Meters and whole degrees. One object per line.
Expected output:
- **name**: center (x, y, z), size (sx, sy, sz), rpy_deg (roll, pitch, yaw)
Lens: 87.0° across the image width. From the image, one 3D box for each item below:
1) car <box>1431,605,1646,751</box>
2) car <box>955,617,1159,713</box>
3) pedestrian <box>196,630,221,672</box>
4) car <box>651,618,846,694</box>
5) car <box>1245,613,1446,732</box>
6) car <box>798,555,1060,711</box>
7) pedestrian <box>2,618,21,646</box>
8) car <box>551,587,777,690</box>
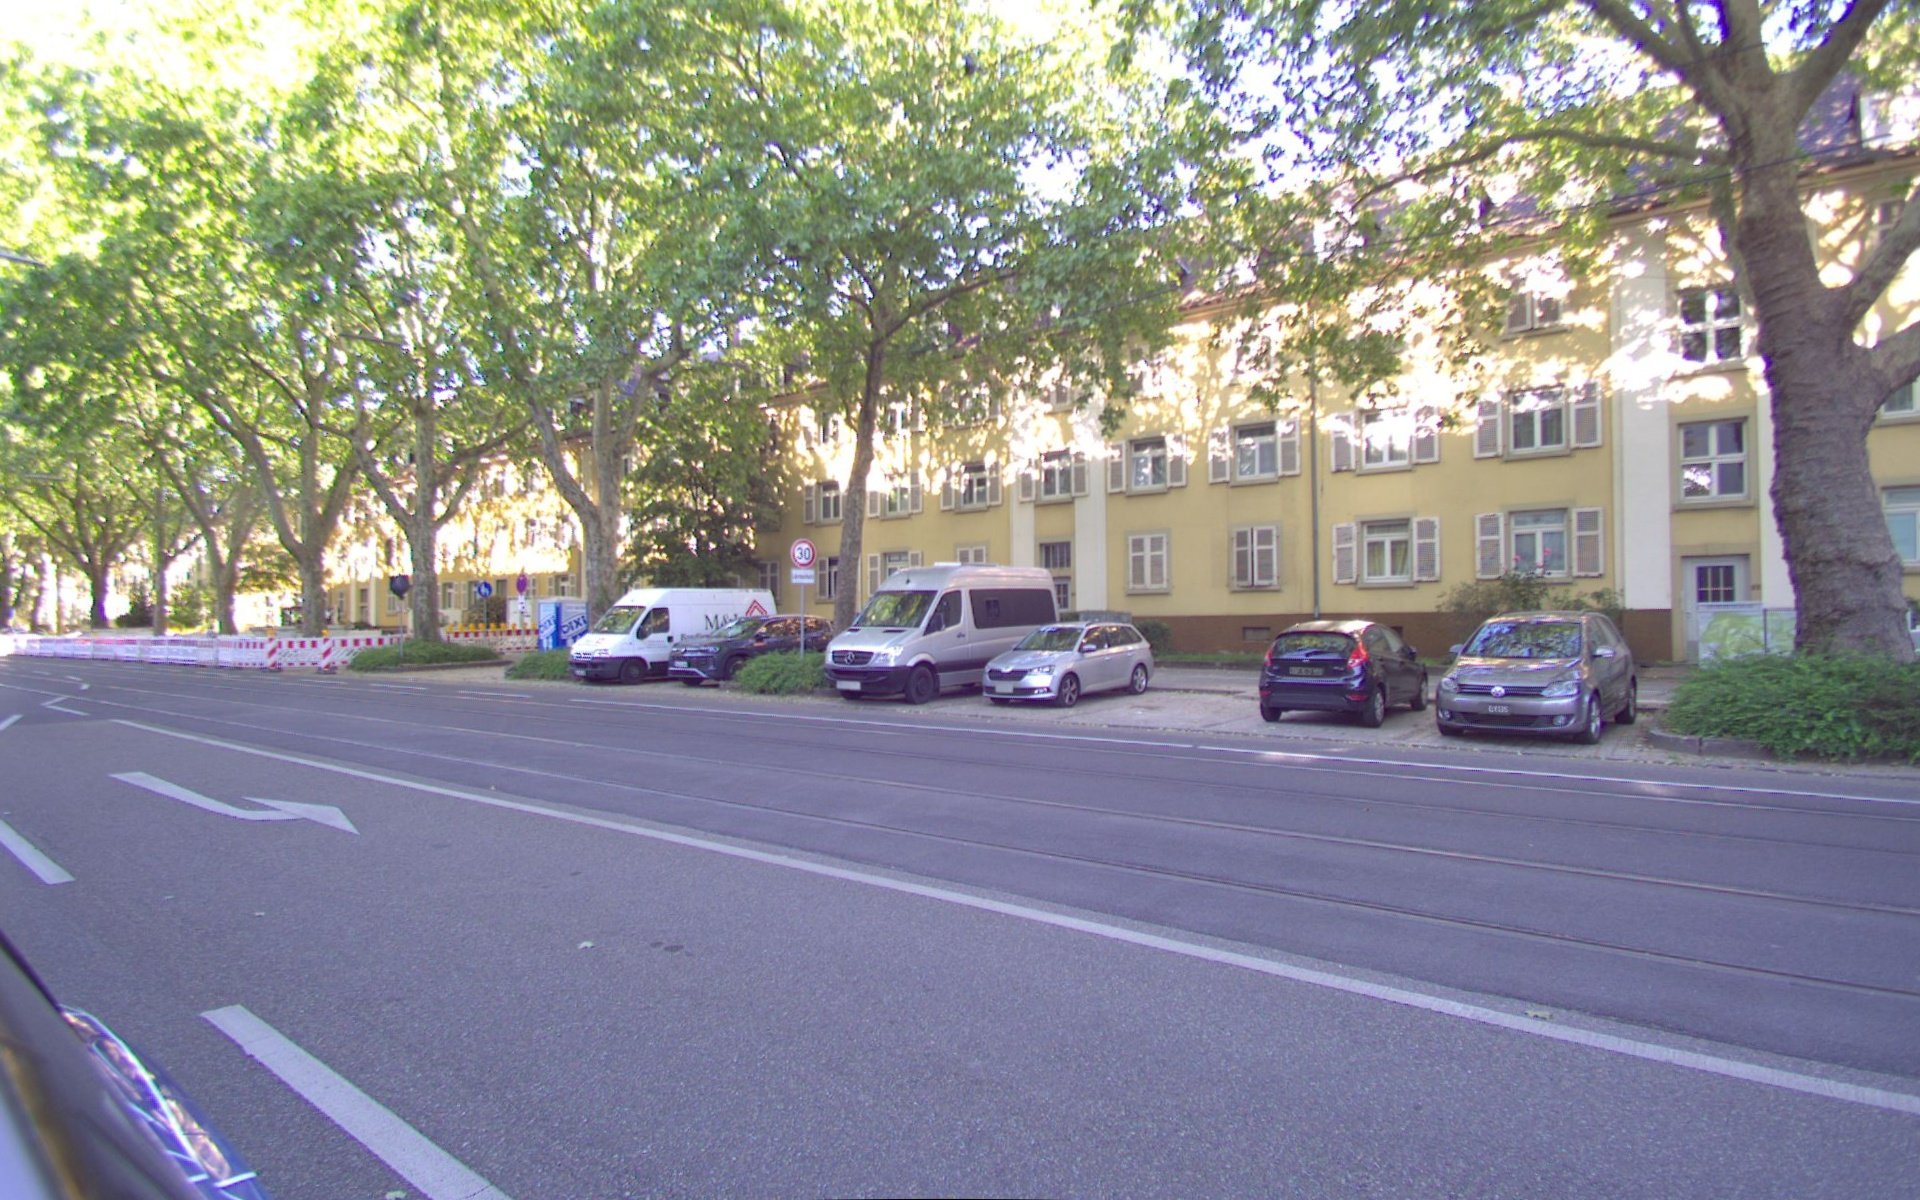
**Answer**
- **car**: center (7.736, 0.899, 13.374), size (1.672, 1.592, 3.928), rpy_deg (-2, -1, 42)
- **car**: center (1.905, 1.122, 18.843), size (1.773, 1.509, 4.031), rpy_deg (-2, -1, 41)
- **pedestrian**: center (-32.107, 2.163, 43.224), size (0.643, 1.759, 0.583), rpy_deg (-1, 0, 0)
- **car**: center (-4.986, 1.277, 24.456), size (1.772, 1.664, 4.570), rpy_deg (-2, -2, 38)
- **car**: center (5.959, 1.001, 15.426), size (1.671, 1.509, 3.756), rpy_deg (-2, -1, 41)
- **car**: center (-0.434, 0.609, 20.455), size (2.221, 2.702, 5.596), rpy_deg (-2, -1, 38)
- **pedestrian**: center (-66.034, 2.229, 70.432), size (0.721, 1.900, 0.666), rpy_deg (-1, 0, -10)
- **car**: center (-7.568, 0.965, 26.382), size (2.222, 2.394, 5.336), rpy_deg (-2, -2, 40)
